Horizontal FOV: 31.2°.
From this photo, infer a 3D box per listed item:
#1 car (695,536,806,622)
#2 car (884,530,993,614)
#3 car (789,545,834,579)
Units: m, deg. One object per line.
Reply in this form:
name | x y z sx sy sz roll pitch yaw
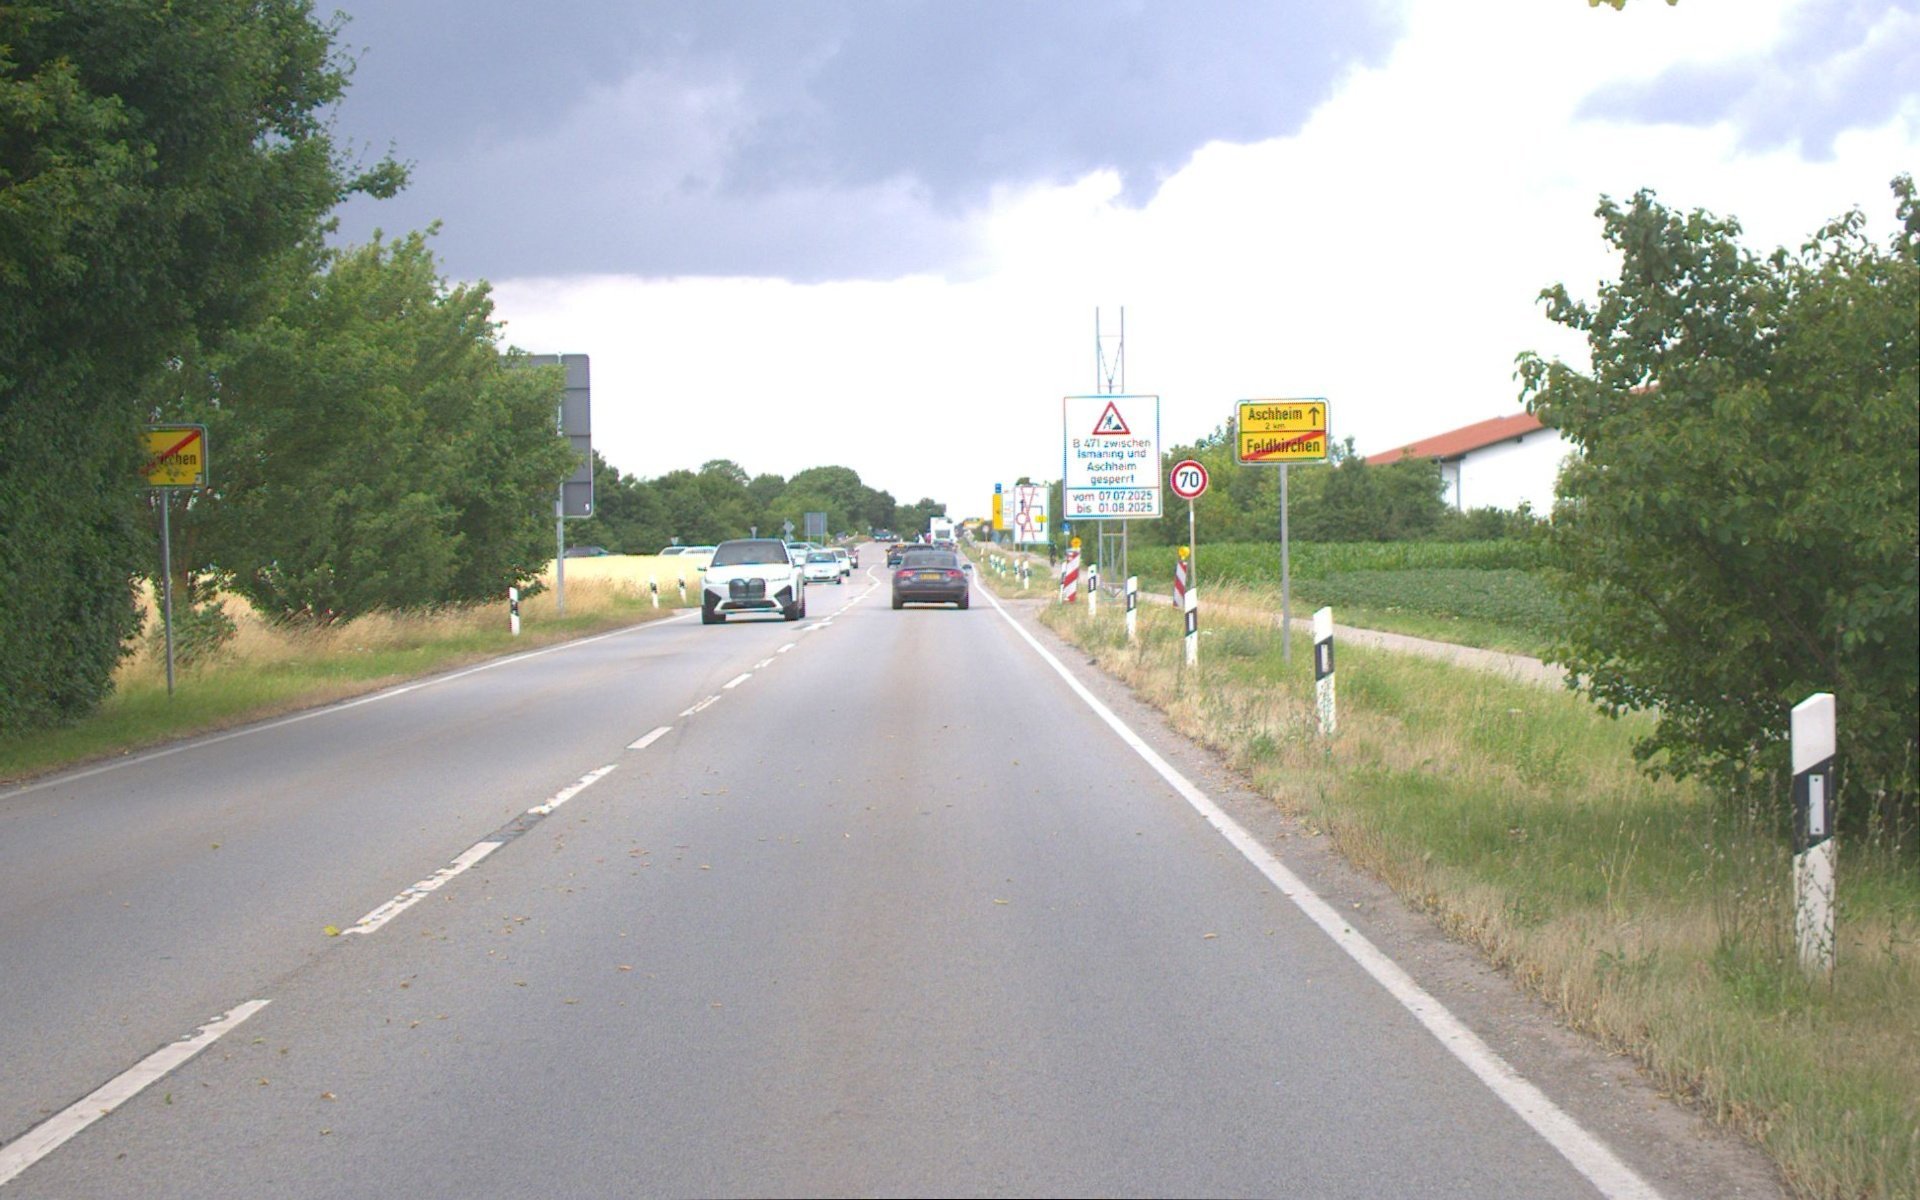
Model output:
car | -4.269 -0.461 70.664 1.993 1.678 4.810 -1 1 0
car | -0.554 -0.689 82.704 2.371 1.874 4.478 -2 1 -3
car | -6.157 -1.590 142.951 1.728 1.359 3.950 -1 1 0
